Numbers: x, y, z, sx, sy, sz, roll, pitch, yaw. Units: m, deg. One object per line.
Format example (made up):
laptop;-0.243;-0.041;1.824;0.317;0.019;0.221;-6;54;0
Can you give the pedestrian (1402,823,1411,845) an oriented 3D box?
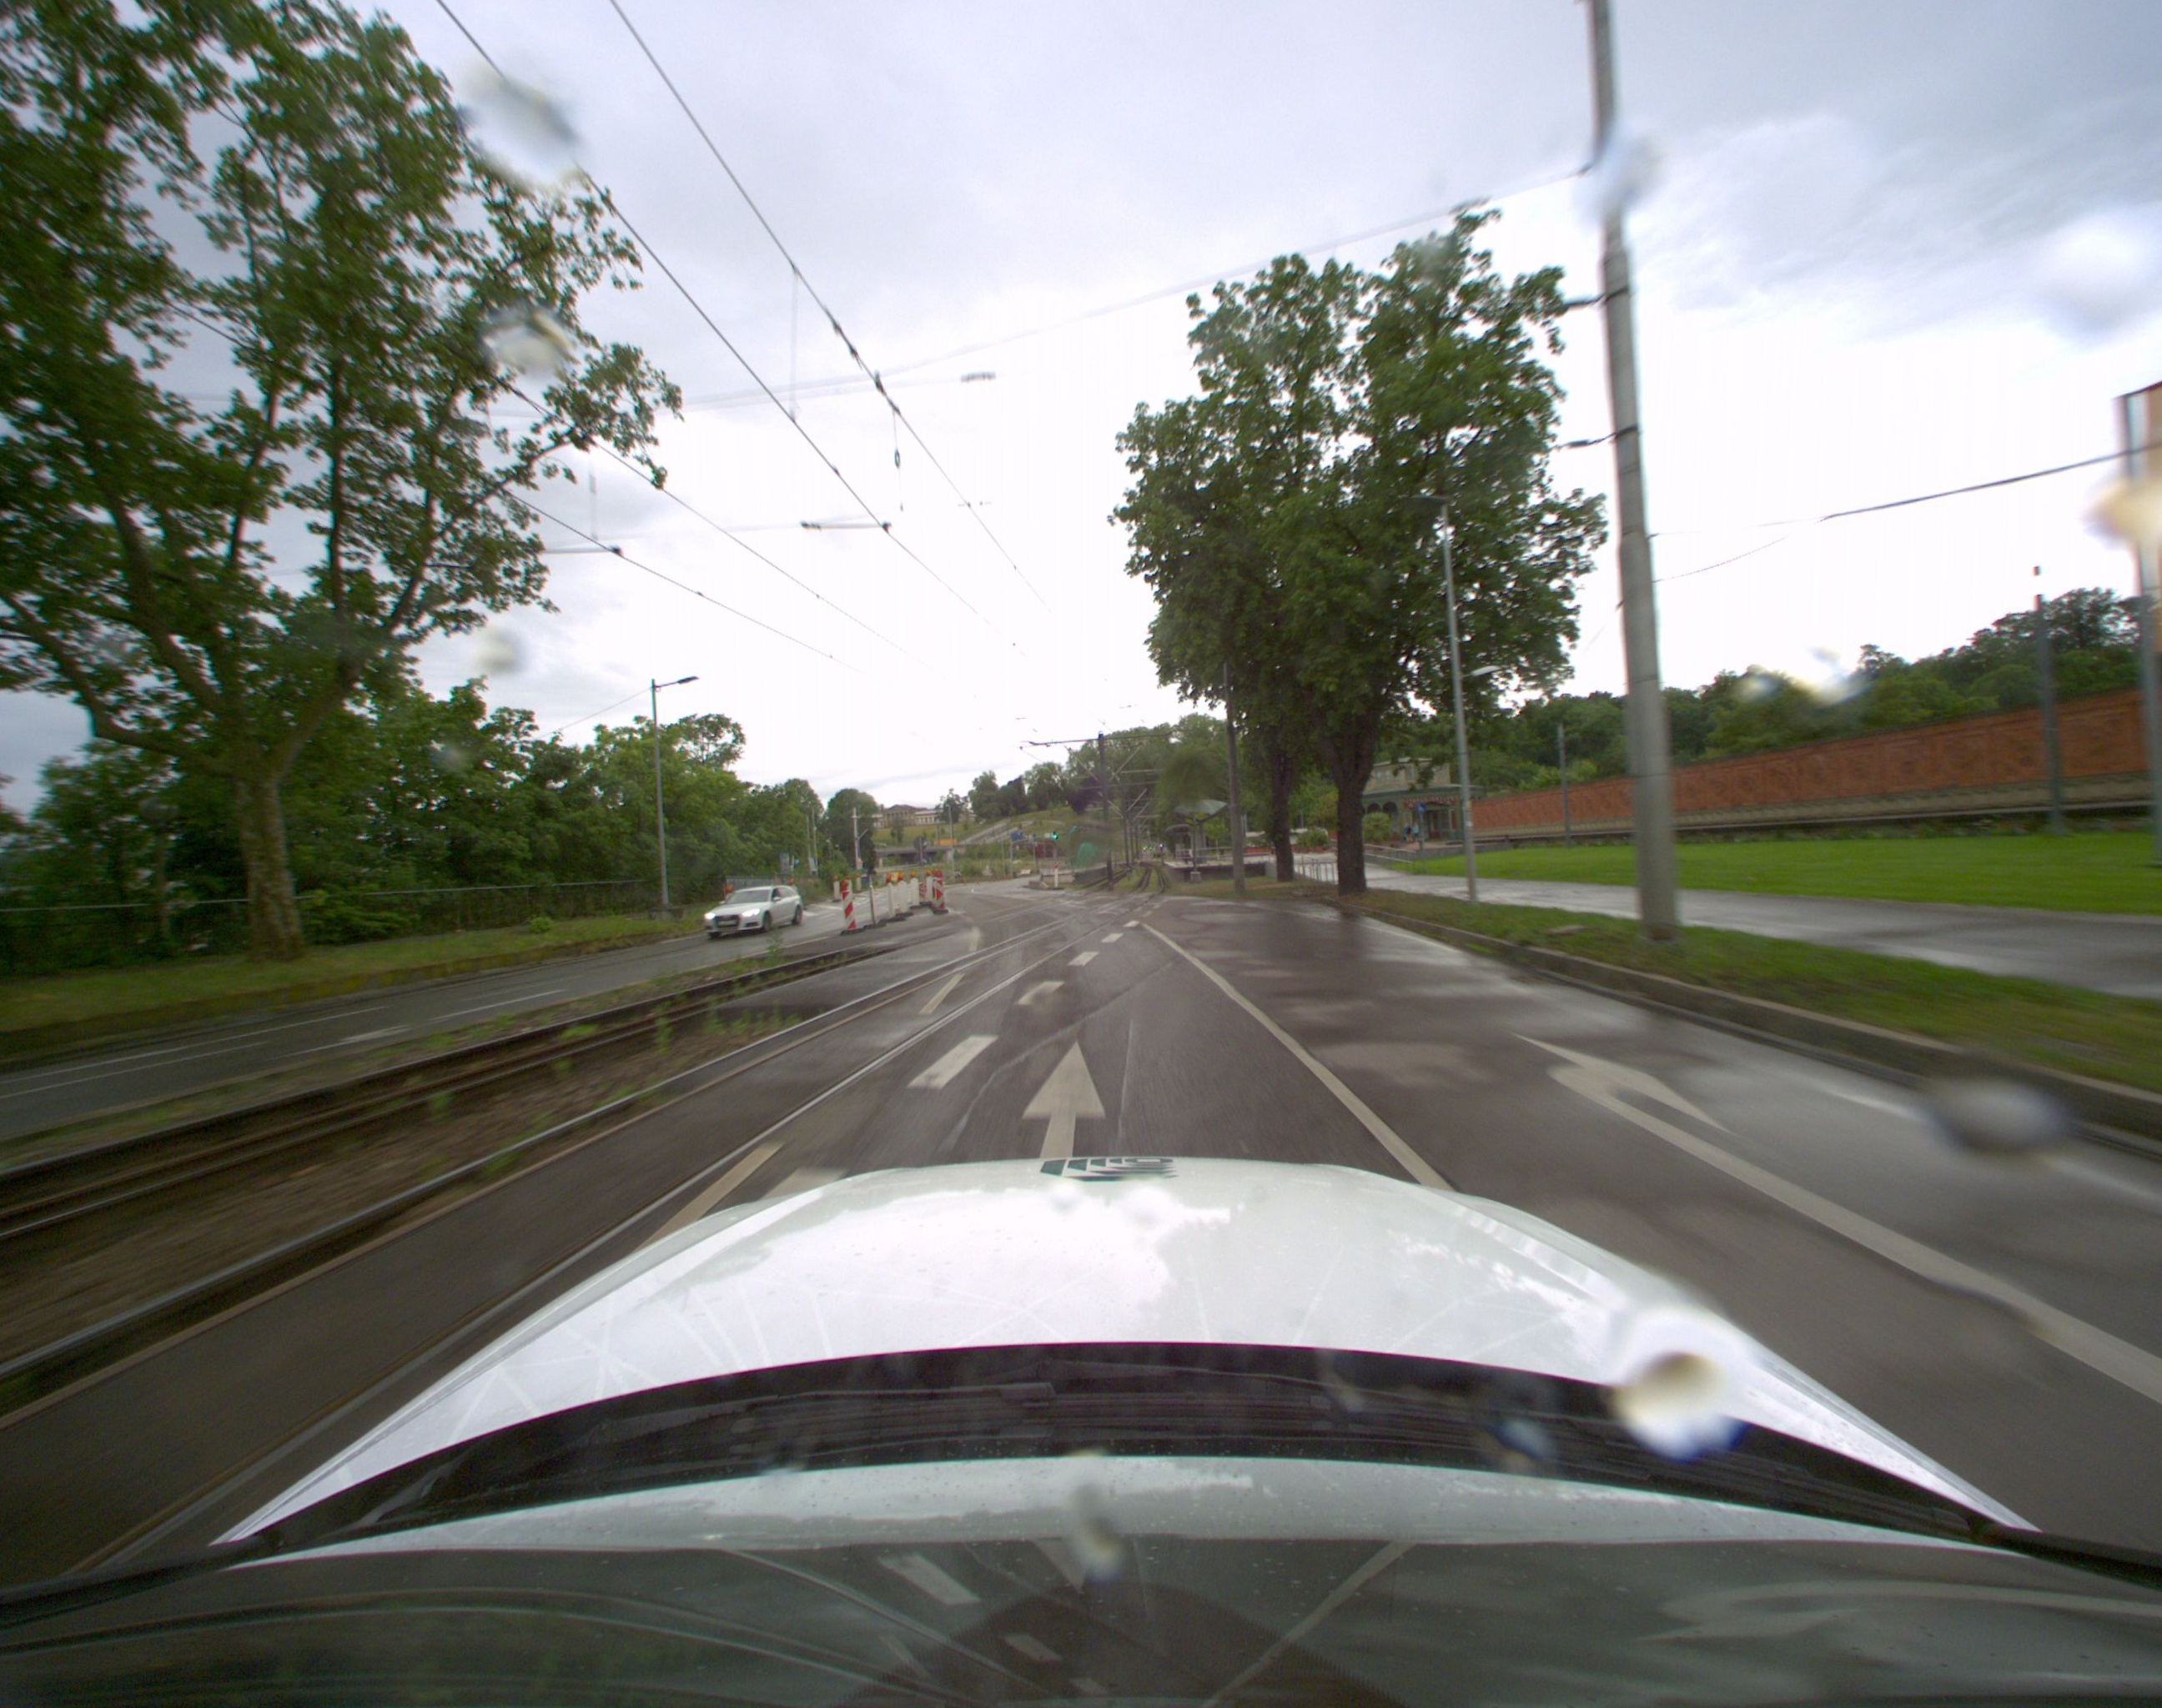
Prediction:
pedestrian;26.048;-1.601;65.235;0.527;1.711;0.698;-2;-2;16

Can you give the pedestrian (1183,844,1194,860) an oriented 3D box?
pedestrian;7.711;-0.128;58.455;0.600;1.119;0.518;1;-2;-11

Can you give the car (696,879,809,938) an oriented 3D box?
car;-10.628;1.692;26.718;1.704;1.498;4.718;-5;0;-1

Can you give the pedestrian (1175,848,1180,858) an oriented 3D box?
pedestrian;10.340;-0.106;87.263;0.435;1.009;0.552;-5;-1;5

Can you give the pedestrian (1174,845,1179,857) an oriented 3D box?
pedestrian;10.274;-0.330;87.996;0.435;1.226;0.552;-5;-1;5

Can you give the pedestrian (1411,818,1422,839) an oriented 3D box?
pedestrian;26.488;-2.006;64.294;0.544;1.657;0.472;-4;-2;39
